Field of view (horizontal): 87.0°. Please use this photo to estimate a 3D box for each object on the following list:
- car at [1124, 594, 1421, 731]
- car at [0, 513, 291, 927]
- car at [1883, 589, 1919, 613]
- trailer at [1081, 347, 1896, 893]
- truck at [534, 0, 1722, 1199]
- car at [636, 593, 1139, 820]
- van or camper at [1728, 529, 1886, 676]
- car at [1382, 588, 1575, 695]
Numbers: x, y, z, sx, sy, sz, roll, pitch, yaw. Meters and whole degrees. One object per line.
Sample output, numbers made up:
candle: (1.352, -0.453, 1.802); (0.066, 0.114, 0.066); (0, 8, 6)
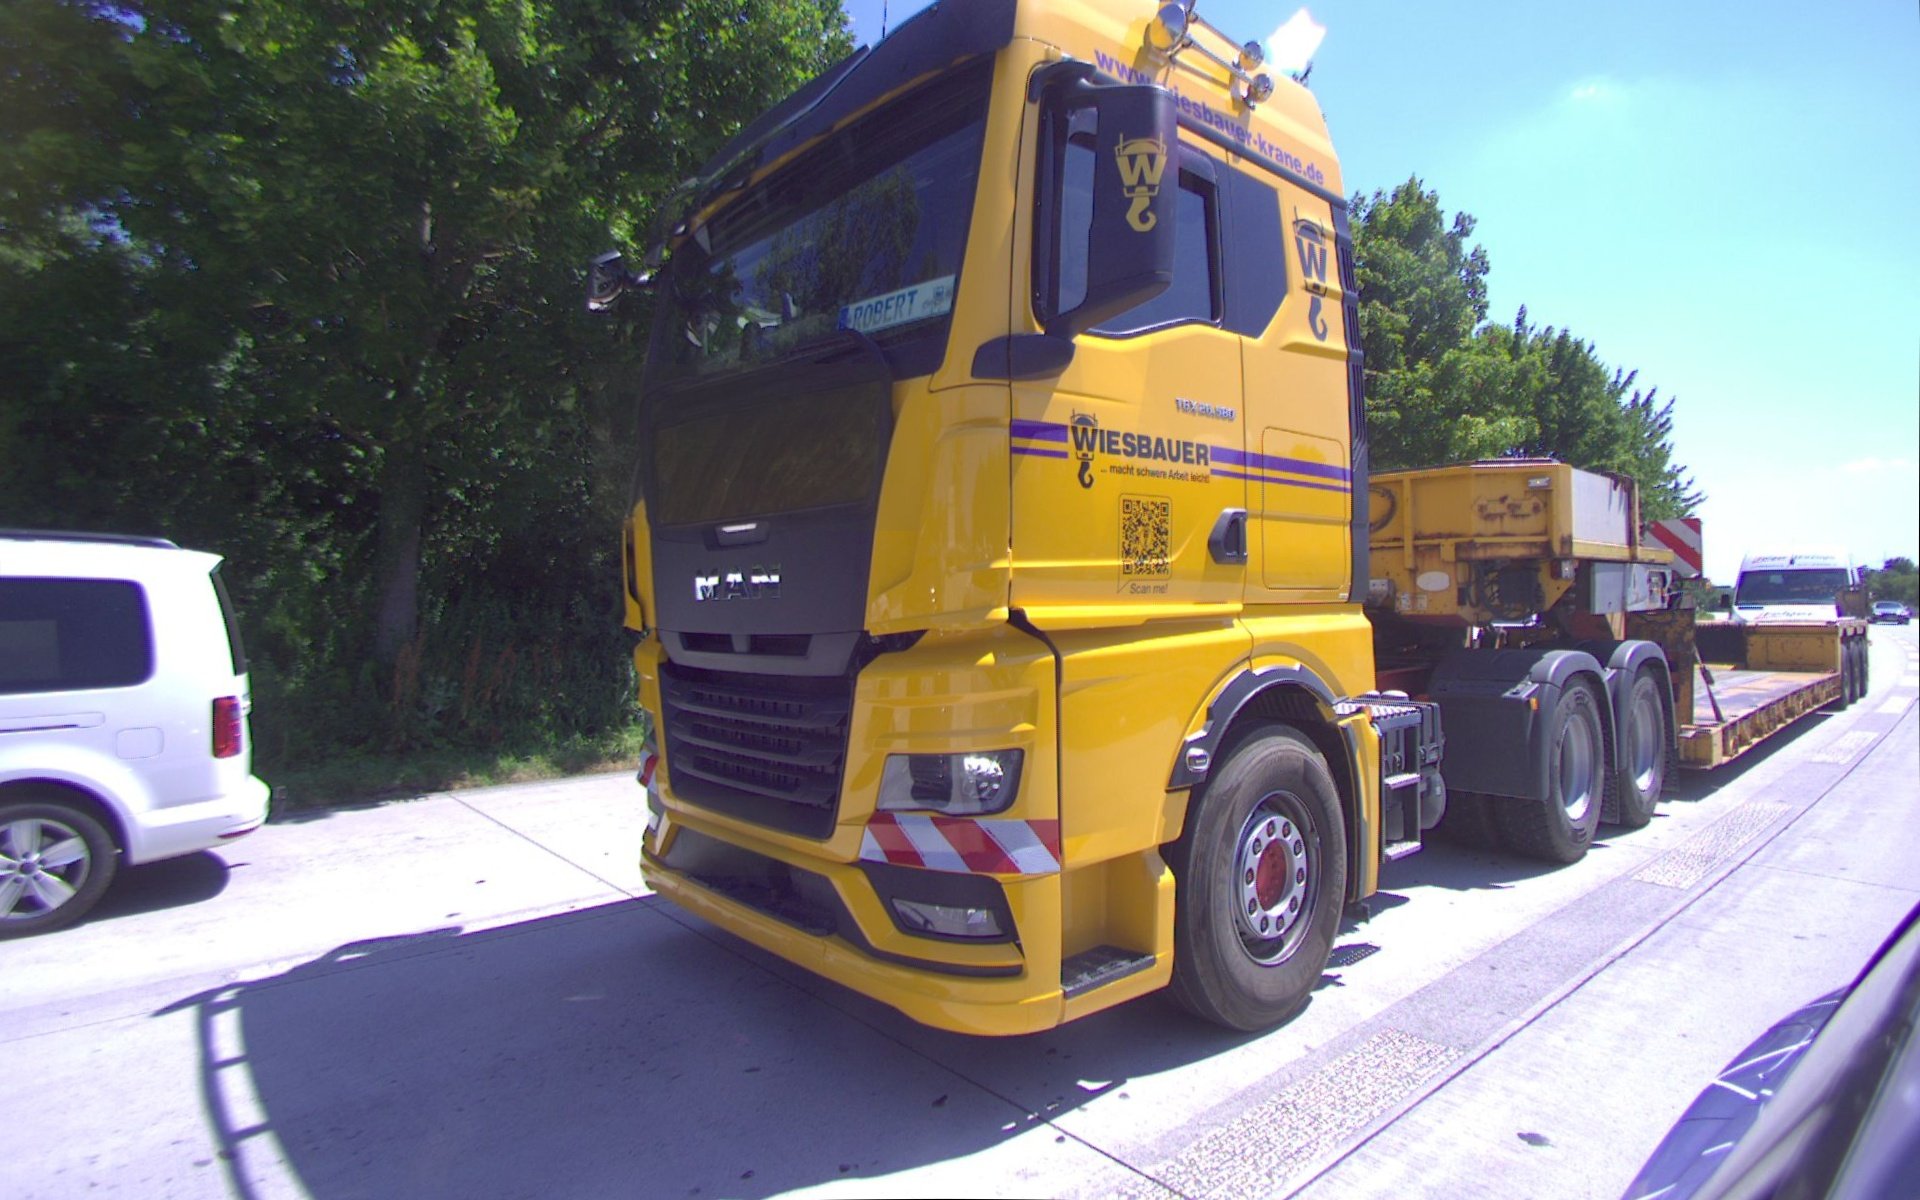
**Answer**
car: (4.250, 0.674, 13.326); (4.522, 1.480, 1.769); (-1, 0, -44)
car: (-5.777, 0.546, 4.293); (4.711, 1.830, 1.770); (-1, 1, -42)
car: (60.198, 0.054, 64.500); (1.884, 1.482, 3.941); (0, 1, 41)
trailer: (7.747, 0.059, 11.479); (16.080, 2.626, 3.030); (0, 0, -43)
truck: (1.791, -0.525, 5.926); (7.344, 3.820, 3.017); (-1, 0, -43)
car: (-0.430, 0.697, 8.897); (4.292, 1.480, 1.769); (-1, 1, -44)
van or camper: (17.476, -0.003, 20.764); (2.063, 2.606, 5.814); (0, 1, 44)
car: (8.933, 0.598, 17.266); (1.768, 1.581, 4.298); (0, 0, 44)
